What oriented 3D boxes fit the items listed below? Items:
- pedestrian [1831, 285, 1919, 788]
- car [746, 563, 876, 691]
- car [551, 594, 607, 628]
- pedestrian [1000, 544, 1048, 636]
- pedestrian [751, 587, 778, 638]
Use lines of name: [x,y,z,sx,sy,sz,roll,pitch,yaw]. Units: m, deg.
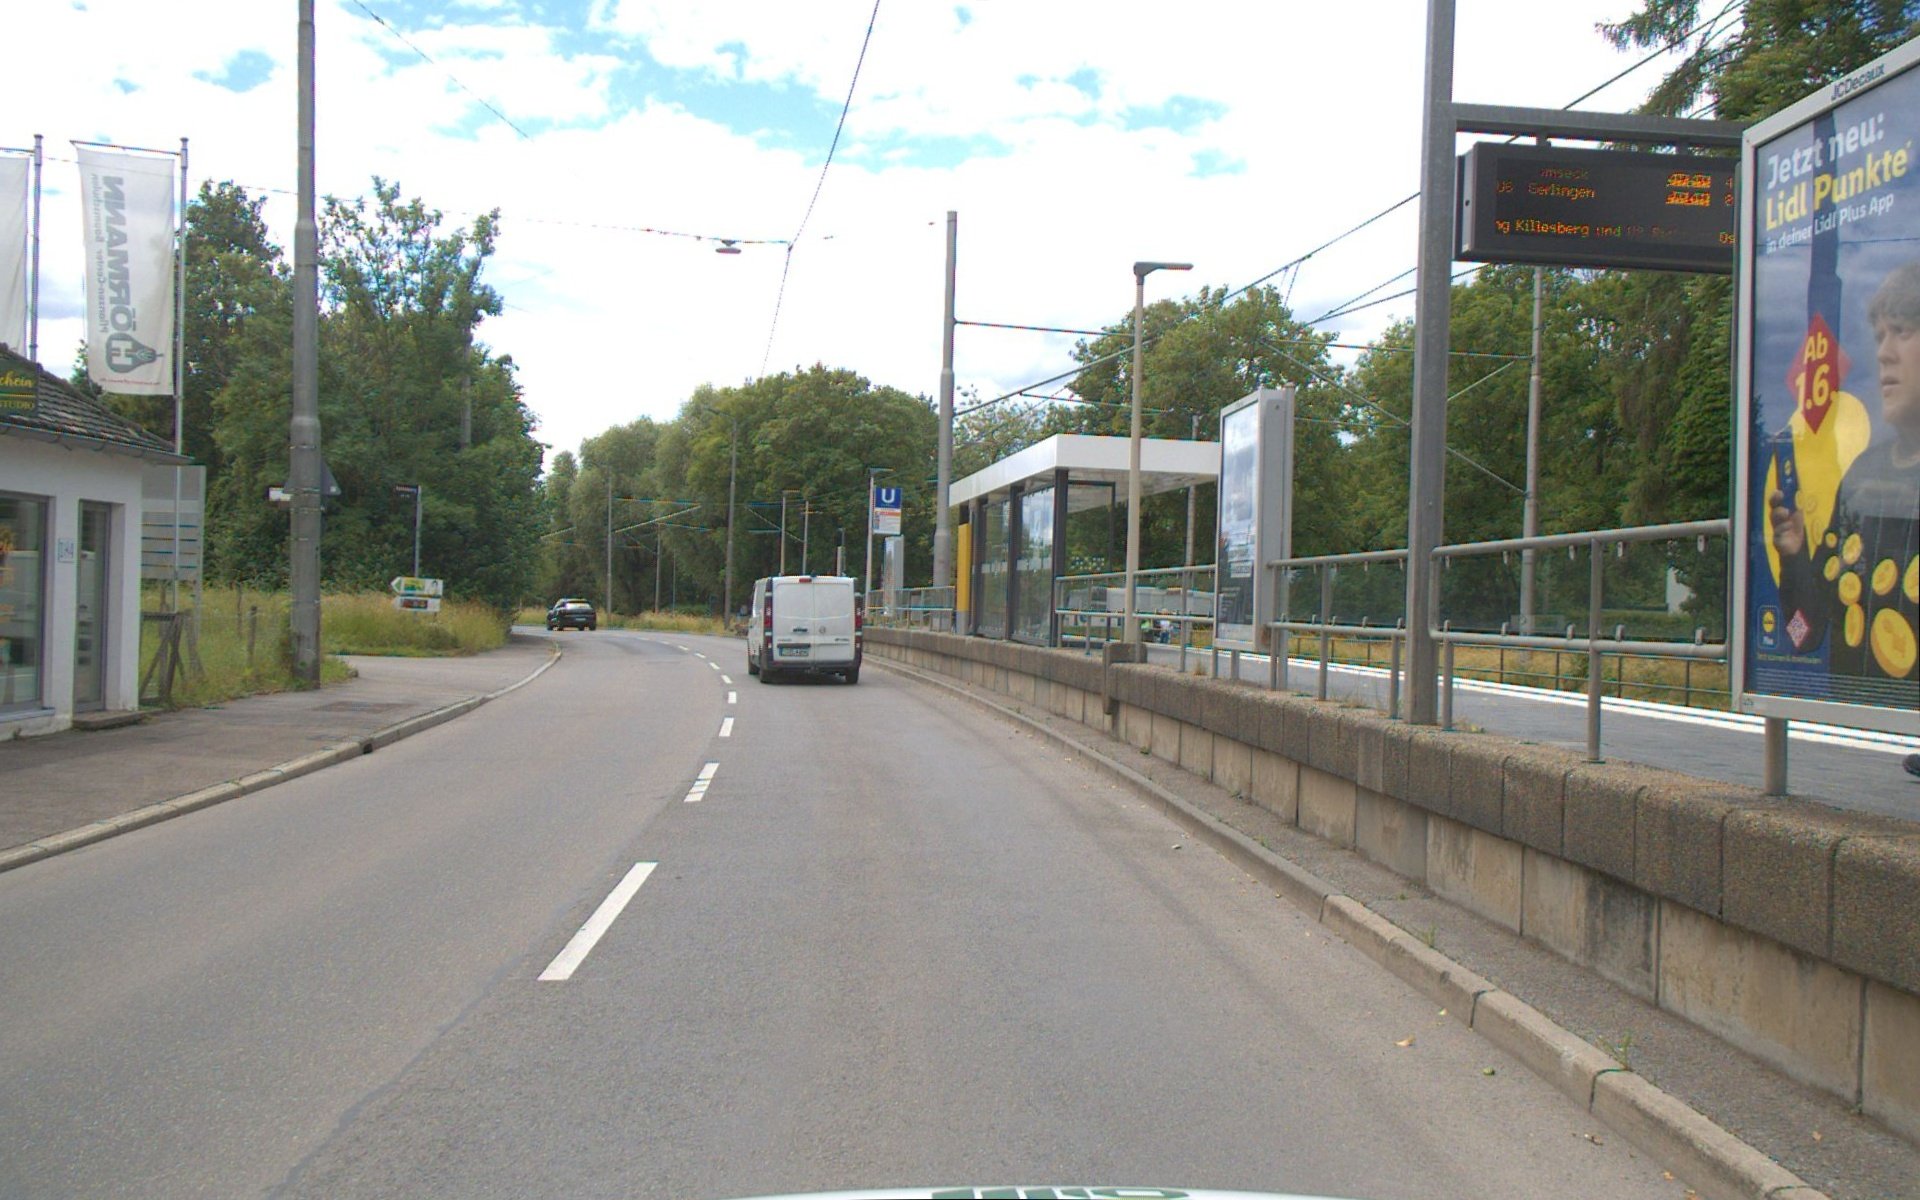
pedestrian: [3.671,-0.206,5.665,0.868,1.700,0.909,2,0,0]
car: [-2.981,0.474,31.983,2.078,2.171,5.430,3,0,-9]
car: [-19.756,0.538,85.634,2.319,1.591,4.349,3,-1,-19]
pedestrian: [1.012,-0.164,26.263,0.626,1.429,0.763,1,1,-8]
pedestrian: [-7.079,0.439,59.783,0.752,1.826,0.623,1,-1,-34]
